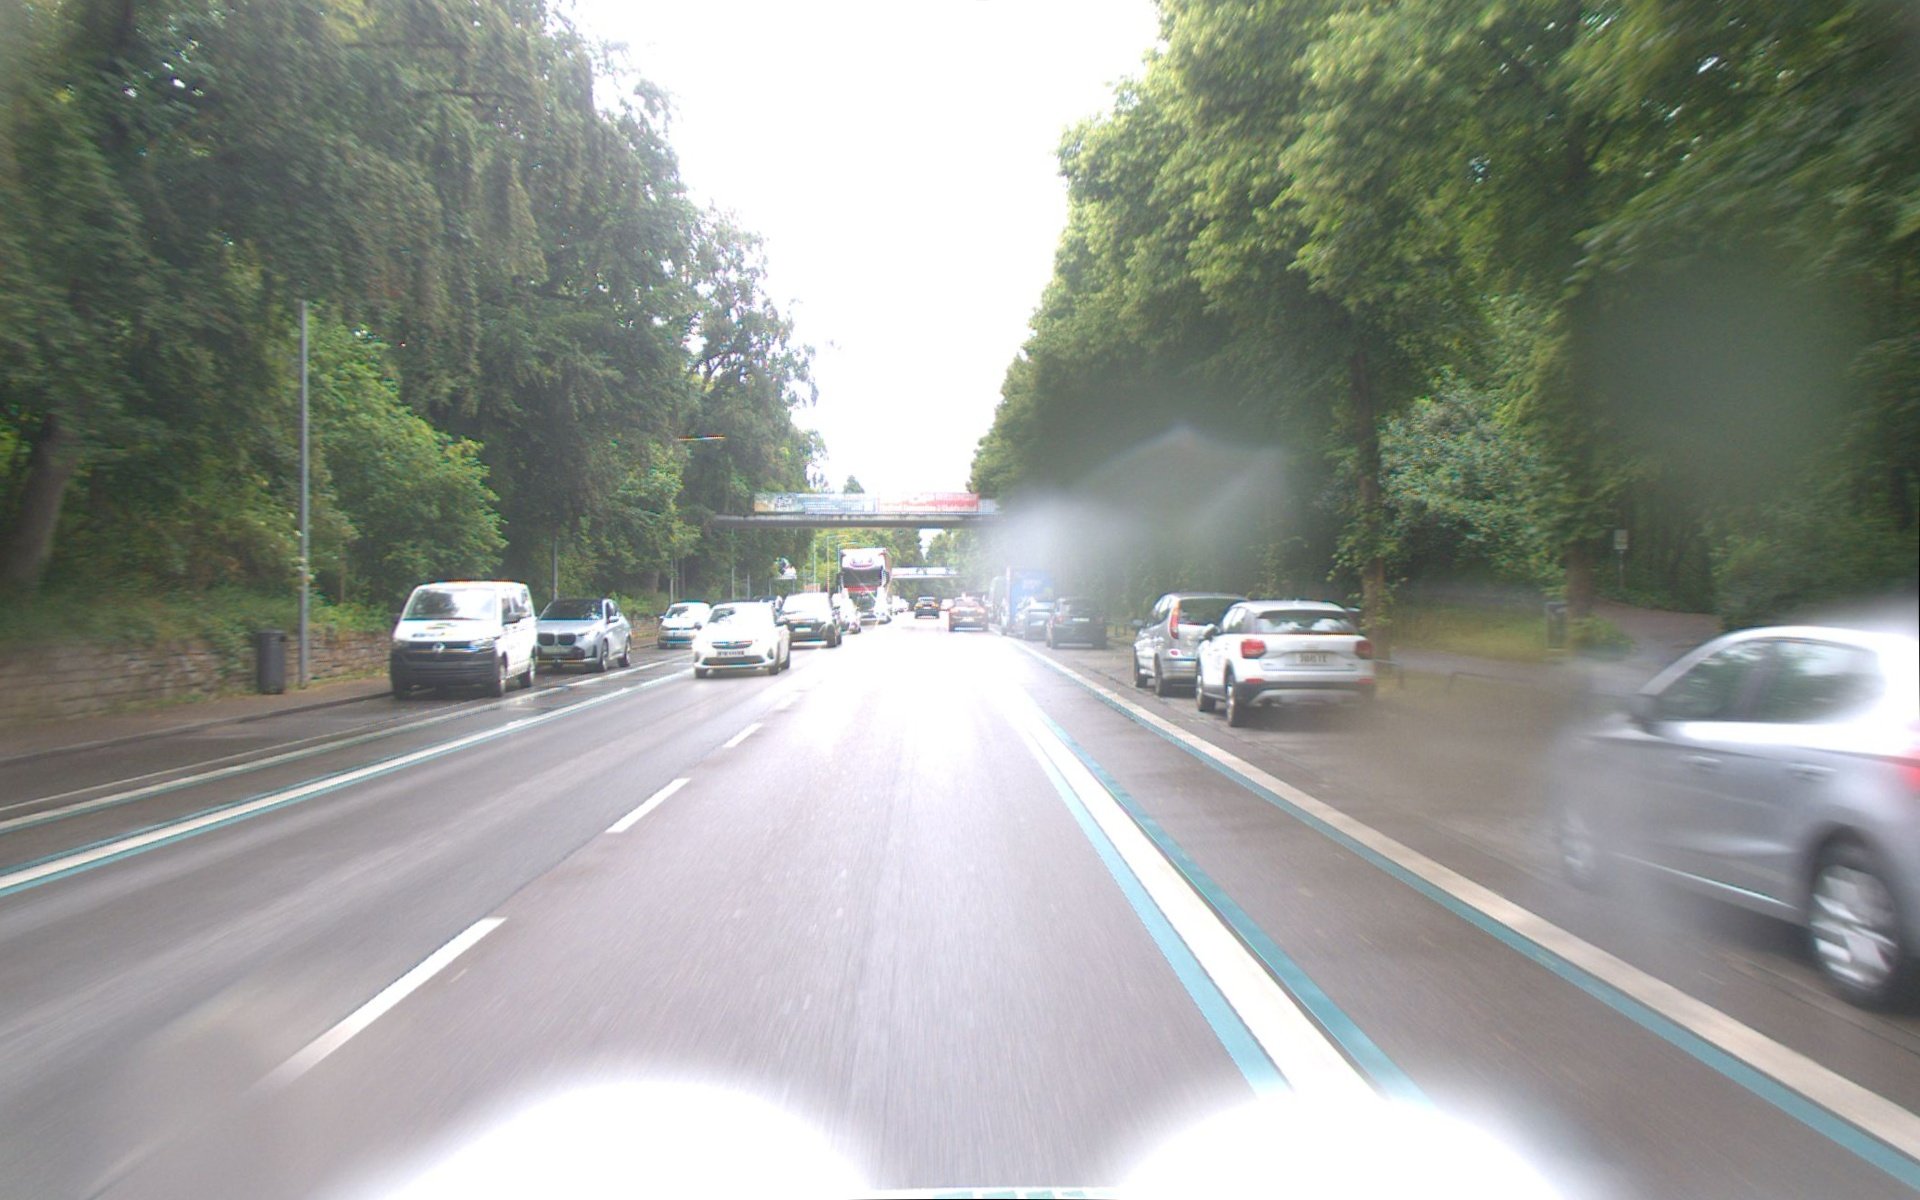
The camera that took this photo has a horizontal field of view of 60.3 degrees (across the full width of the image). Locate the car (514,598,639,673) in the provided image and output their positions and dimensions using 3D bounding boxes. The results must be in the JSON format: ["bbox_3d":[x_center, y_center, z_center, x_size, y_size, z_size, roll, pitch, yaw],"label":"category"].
[{"bbox_3d":[-8.939,0.784,38.967,1.969,1.633,4.777,0,0,-2],"label":"car"}]

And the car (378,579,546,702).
[{"bbox_3d":[-8.880,0.655,29.938,1.935,2.040,5.013,0,0,-5],"label":"car"}]

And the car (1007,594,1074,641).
[{"bbox_3d":[2.850,0.598,59.460,1.862,1.574,4.752,1,0,-4],"label":"car"}]

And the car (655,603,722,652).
[{"bbox_3d":[-9.090,0.890,55.611,1.753,1.508,3.980,-1,1,-3],"label":"car"}]

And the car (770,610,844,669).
[{"bbox_3d":[-4.677,1.180,51.076,1.921,1.645,4.465,-1,0,-1],"label":"car"}]

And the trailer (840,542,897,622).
[{"bbox_3d":[-5.352,-1.027,98.925,2.633,4.333,12.766,-3,0,-1],"label":"trailer"}]

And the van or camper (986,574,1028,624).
[{"bbox_3d":[2.695,-0.067,96.426,2.001,2.777,6.898,1,0,-2],"label":"van or camper"}]

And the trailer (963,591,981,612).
[{"bbox_3d":[1.270,0.128,179.088,1.845,2.204,3.807,-1,0,-1],"label":"trailer"}]

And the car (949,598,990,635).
[{"bbox_3d":[0.410,0.709,73.168,1.781,1.534,4.139,0,0,0],"label":"car"}]

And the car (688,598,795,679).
[{"bbox_3d":[-4.447,0.747,34.125,1.740,1.491,4.061,-3,0,-2],"label":"car"}]

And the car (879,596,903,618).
[{"bbox_3d":[-5.708,0.547,137.325,1.797,1.695,4.179,-2,0,-2],"label":"car"}]

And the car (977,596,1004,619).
[{"bbox_3d":[2.145,0.516,117.329,1.720,1.617,4.497,1,0,-1],"label":"car"}]

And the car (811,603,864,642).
[{"bbox_3d":[-5.120,0.933,69.582,1.876,1.482,4.620,-2,0,0],"label":"car"}]

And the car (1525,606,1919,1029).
[{"bbox_3d":[4.200,0.790,7.668,1.663,1.479,4.096,1,0,-2],"label":"car"}]

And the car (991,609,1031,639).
[{"bbox_3d":[2.537,1.185,83.086,1.652,1.441,4.195,1,0,-3],"label":"car"}]

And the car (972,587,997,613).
[{"bbox_3d":[2.008,0.009,135.750,1.887,2.057,4.662,1,0,-1],"label":"car"}]

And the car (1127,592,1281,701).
[{"bbox_3d":[3.927,0.698,27.340,1.718,1.625,4.738,0,0,-2],"label":"car"}]

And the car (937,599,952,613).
[{"bbox_3d":[-1.838,0.662,196.306,1.696,1.611,4.035,-1,0,-2],"label":"car"}]

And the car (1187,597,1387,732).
[{"bbox_3d":[4.105,0.744,21.465,1.663,1.540,4.468,1,0,-1],"label":"car"}]

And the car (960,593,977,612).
[{"bbox_3d":[0.994,0.298,195.681,1.850,2.164,4.044,-1,0,0],"label":"car"}]

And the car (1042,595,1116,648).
[{"bbox_3d":[3.582,0.618,50.536,1.788,1.529,4.569,-1,0,-2],"label":"car"}]

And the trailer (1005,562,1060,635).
[{"bbox_3d":[2.830,-0.057,65.422,1.913,2.807,4.006,0,0,-1],"label":"trailer"}]

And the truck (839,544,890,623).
[{"bbox_3d":[-5.255,-0.887,91.477,2.467,4.117,4.915,-3,0,-1],"label":"truck"}]

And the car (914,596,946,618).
[{"bbox_3d":[-2.125,0.488,117.116,2.097,1.518,4.496,1,0,-3],"label":"car"}]
